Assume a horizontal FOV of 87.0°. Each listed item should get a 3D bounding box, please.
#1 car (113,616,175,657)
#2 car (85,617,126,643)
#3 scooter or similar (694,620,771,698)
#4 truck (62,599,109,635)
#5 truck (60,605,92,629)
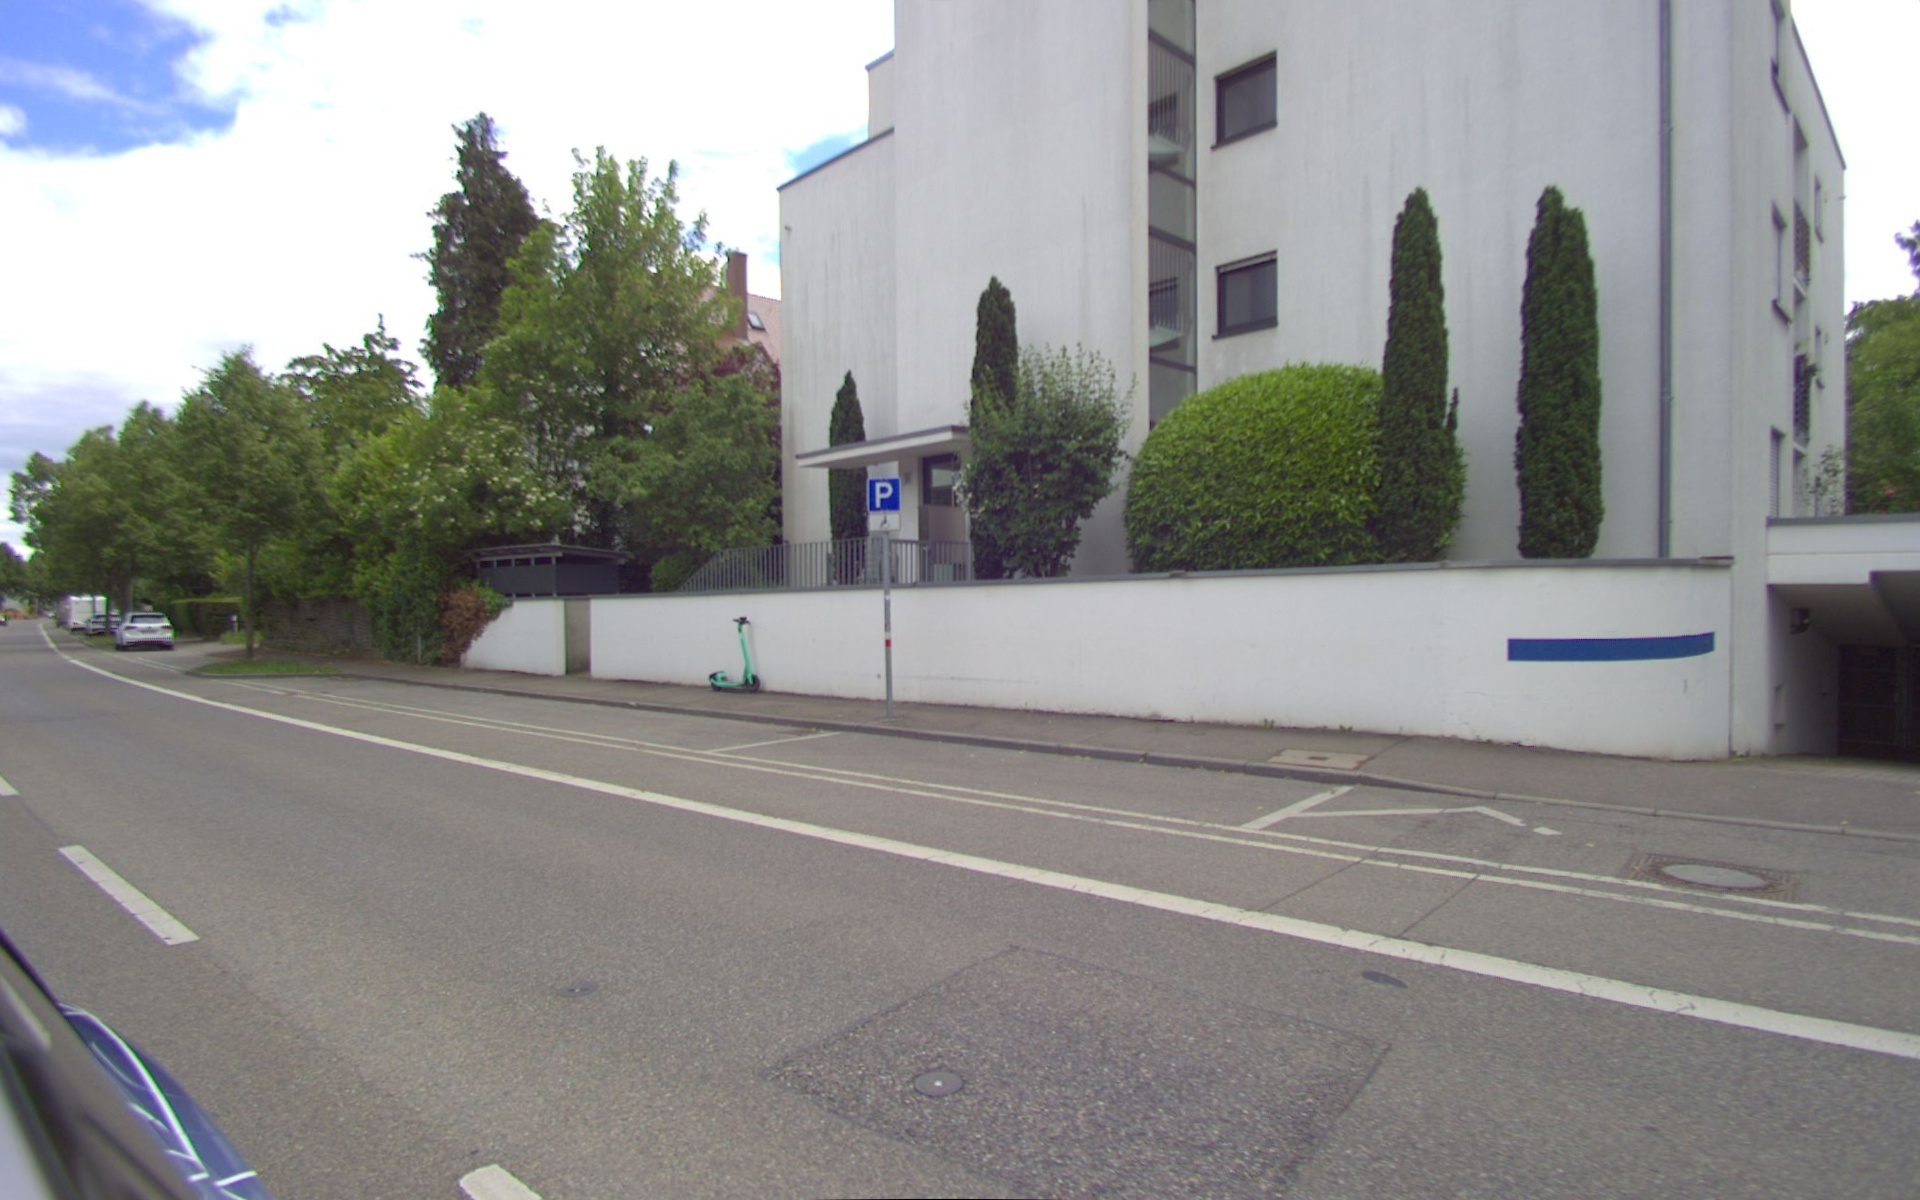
[{"bbox_3d":[-35.916,1.575,44.511,1.889,1.665,4.005,0,-1,-42],"label":"car"},{"bbox_3d":[-54.592,1.897,64.631,1.862,1.628,4.005,0,-1,-42],"label":"car"},{"bbox_3d":[-3.626,0.915,16.088,1.326,1.174,0.429,-1,2,42],"label":"scooter or similar"},{"bbox_3d":[-72.158,1.366,83.500,2.604,2.794,6.262,-1,0,-44],"label":"truck"},{"bbox_3d":[-96.053,1.821,109.951,4.496,2.564,1.973,-1,0,40],"label":"truck"}]
